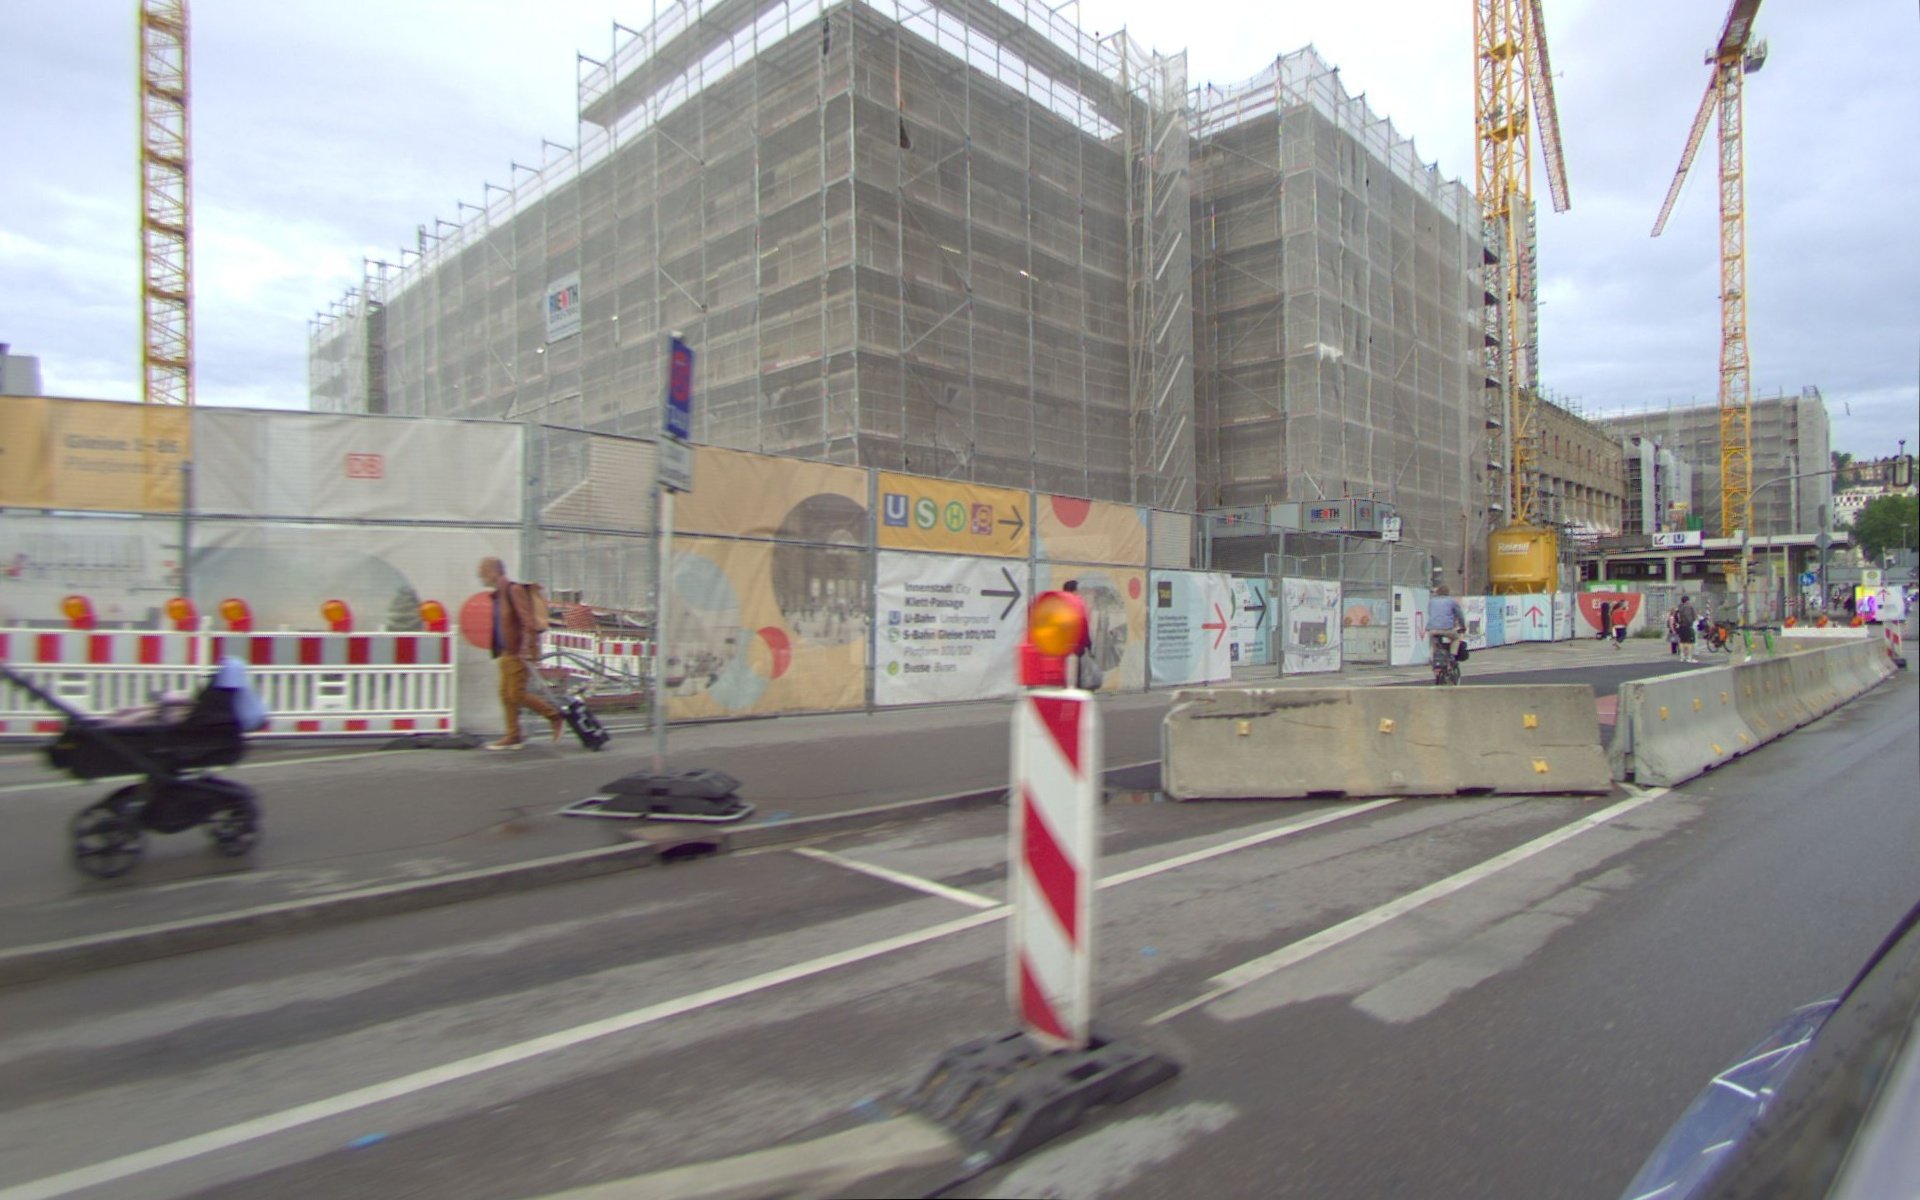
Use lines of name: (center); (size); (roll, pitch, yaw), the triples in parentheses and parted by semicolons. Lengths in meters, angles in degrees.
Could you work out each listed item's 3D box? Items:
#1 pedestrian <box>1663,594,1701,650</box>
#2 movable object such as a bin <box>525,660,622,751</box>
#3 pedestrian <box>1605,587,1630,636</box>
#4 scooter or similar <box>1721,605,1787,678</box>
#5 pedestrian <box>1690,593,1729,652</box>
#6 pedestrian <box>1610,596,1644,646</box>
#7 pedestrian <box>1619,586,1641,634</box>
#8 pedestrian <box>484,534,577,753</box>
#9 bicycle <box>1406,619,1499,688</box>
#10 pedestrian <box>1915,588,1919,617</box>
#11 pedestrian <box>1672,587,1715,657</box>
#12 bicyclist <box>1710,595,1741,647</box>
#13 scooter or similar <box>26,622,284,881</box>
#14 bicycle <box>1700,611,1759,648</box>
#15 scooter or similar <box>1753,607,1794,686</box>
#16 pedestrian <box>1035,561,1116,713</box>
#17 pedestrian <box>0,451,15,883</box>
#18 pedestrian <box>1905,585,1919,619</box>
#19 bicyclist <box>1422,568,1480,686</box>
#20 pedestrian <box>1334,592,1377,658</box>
pedestrian: (23.393, 0.701, 32.782); (0.866, 1.778, 0.815); (0, 0, -40)
movable object such as a bin: (-3.510, 0.948, 9.235); (0.761, 0.743, 0.600); (0, 0, -14)
pedestrian: (27.921, 0.478, 42.958); (0.615, 2.039, 0.642); (0, 0, -20)
scooter or similar: (15.204, 0.782, 19.378); (1.003, 1.350, 0.494); (0, 0, -17)
pedestrian: (23.585, 0.688, 31.858); (0.798, 1.776, 0.808); (2, 4, 28)
pedestrian: (23.835, 0.727, 36.153); (0.699, 1.749, 0.744); (0, 1, -25)
pedestrian: (29.157, 0.428, 44.038); (0.618, 2.039, 0.576); (0, 0, 13)
pedestrian: (-3.927, 0.378, 9.299); (0.640, 1.919, 0.771); (0, 0, -11)
bicycle: (8.826, 0.925, 18.107); (1.946, 1.126, 0.767); (0, 0, -40)
pedestrian: (61.461, 0.131, 64.643); (0.722, 1.846, 0.645); (0, 0, -41)
pedestrian: (21.564, 0.625, 29.747); (0.849, 2.037, 0.789); (0, 0, -35)
bicyclist: (25.416, 0.685, 33.606); (0.425, 1.726, 0.698); (0, 0, -26)
scooter or similar: (-4.282, 0.737, 5.434); (1.025, 1.214, 0.666); (0, -1, -40)
bicycle: (25.661, 0.966, 33.732); (1.951, 1.148, 0.757); (0, 0, -26)
scooter or similar: (14.357, 0.798, 17.875); (0.523, 1.350, 1.011); (-1, 0, 38)
pedestrian: (1.522, 0.469, 13.387); (0.650, 1.919, 0.850); (0, -1, -40)
pedestrian: (-5.021, 0.328, 4.626); (0.954, 2.042, 0.804); (0, -1, -40)
pedestrian: (56.679, 0.102, 60.116); (0.731, 2.039, 0.637); (0, 0, 39)
bicyclist: (8.678, 0.467, 17.889); (0.588, 2.039, 0.728); (0, -1, -40)
pedestrian: (11.494, 0.719, 29.405); (0.999, 1.872, 0.666); (0, 0, 42)
